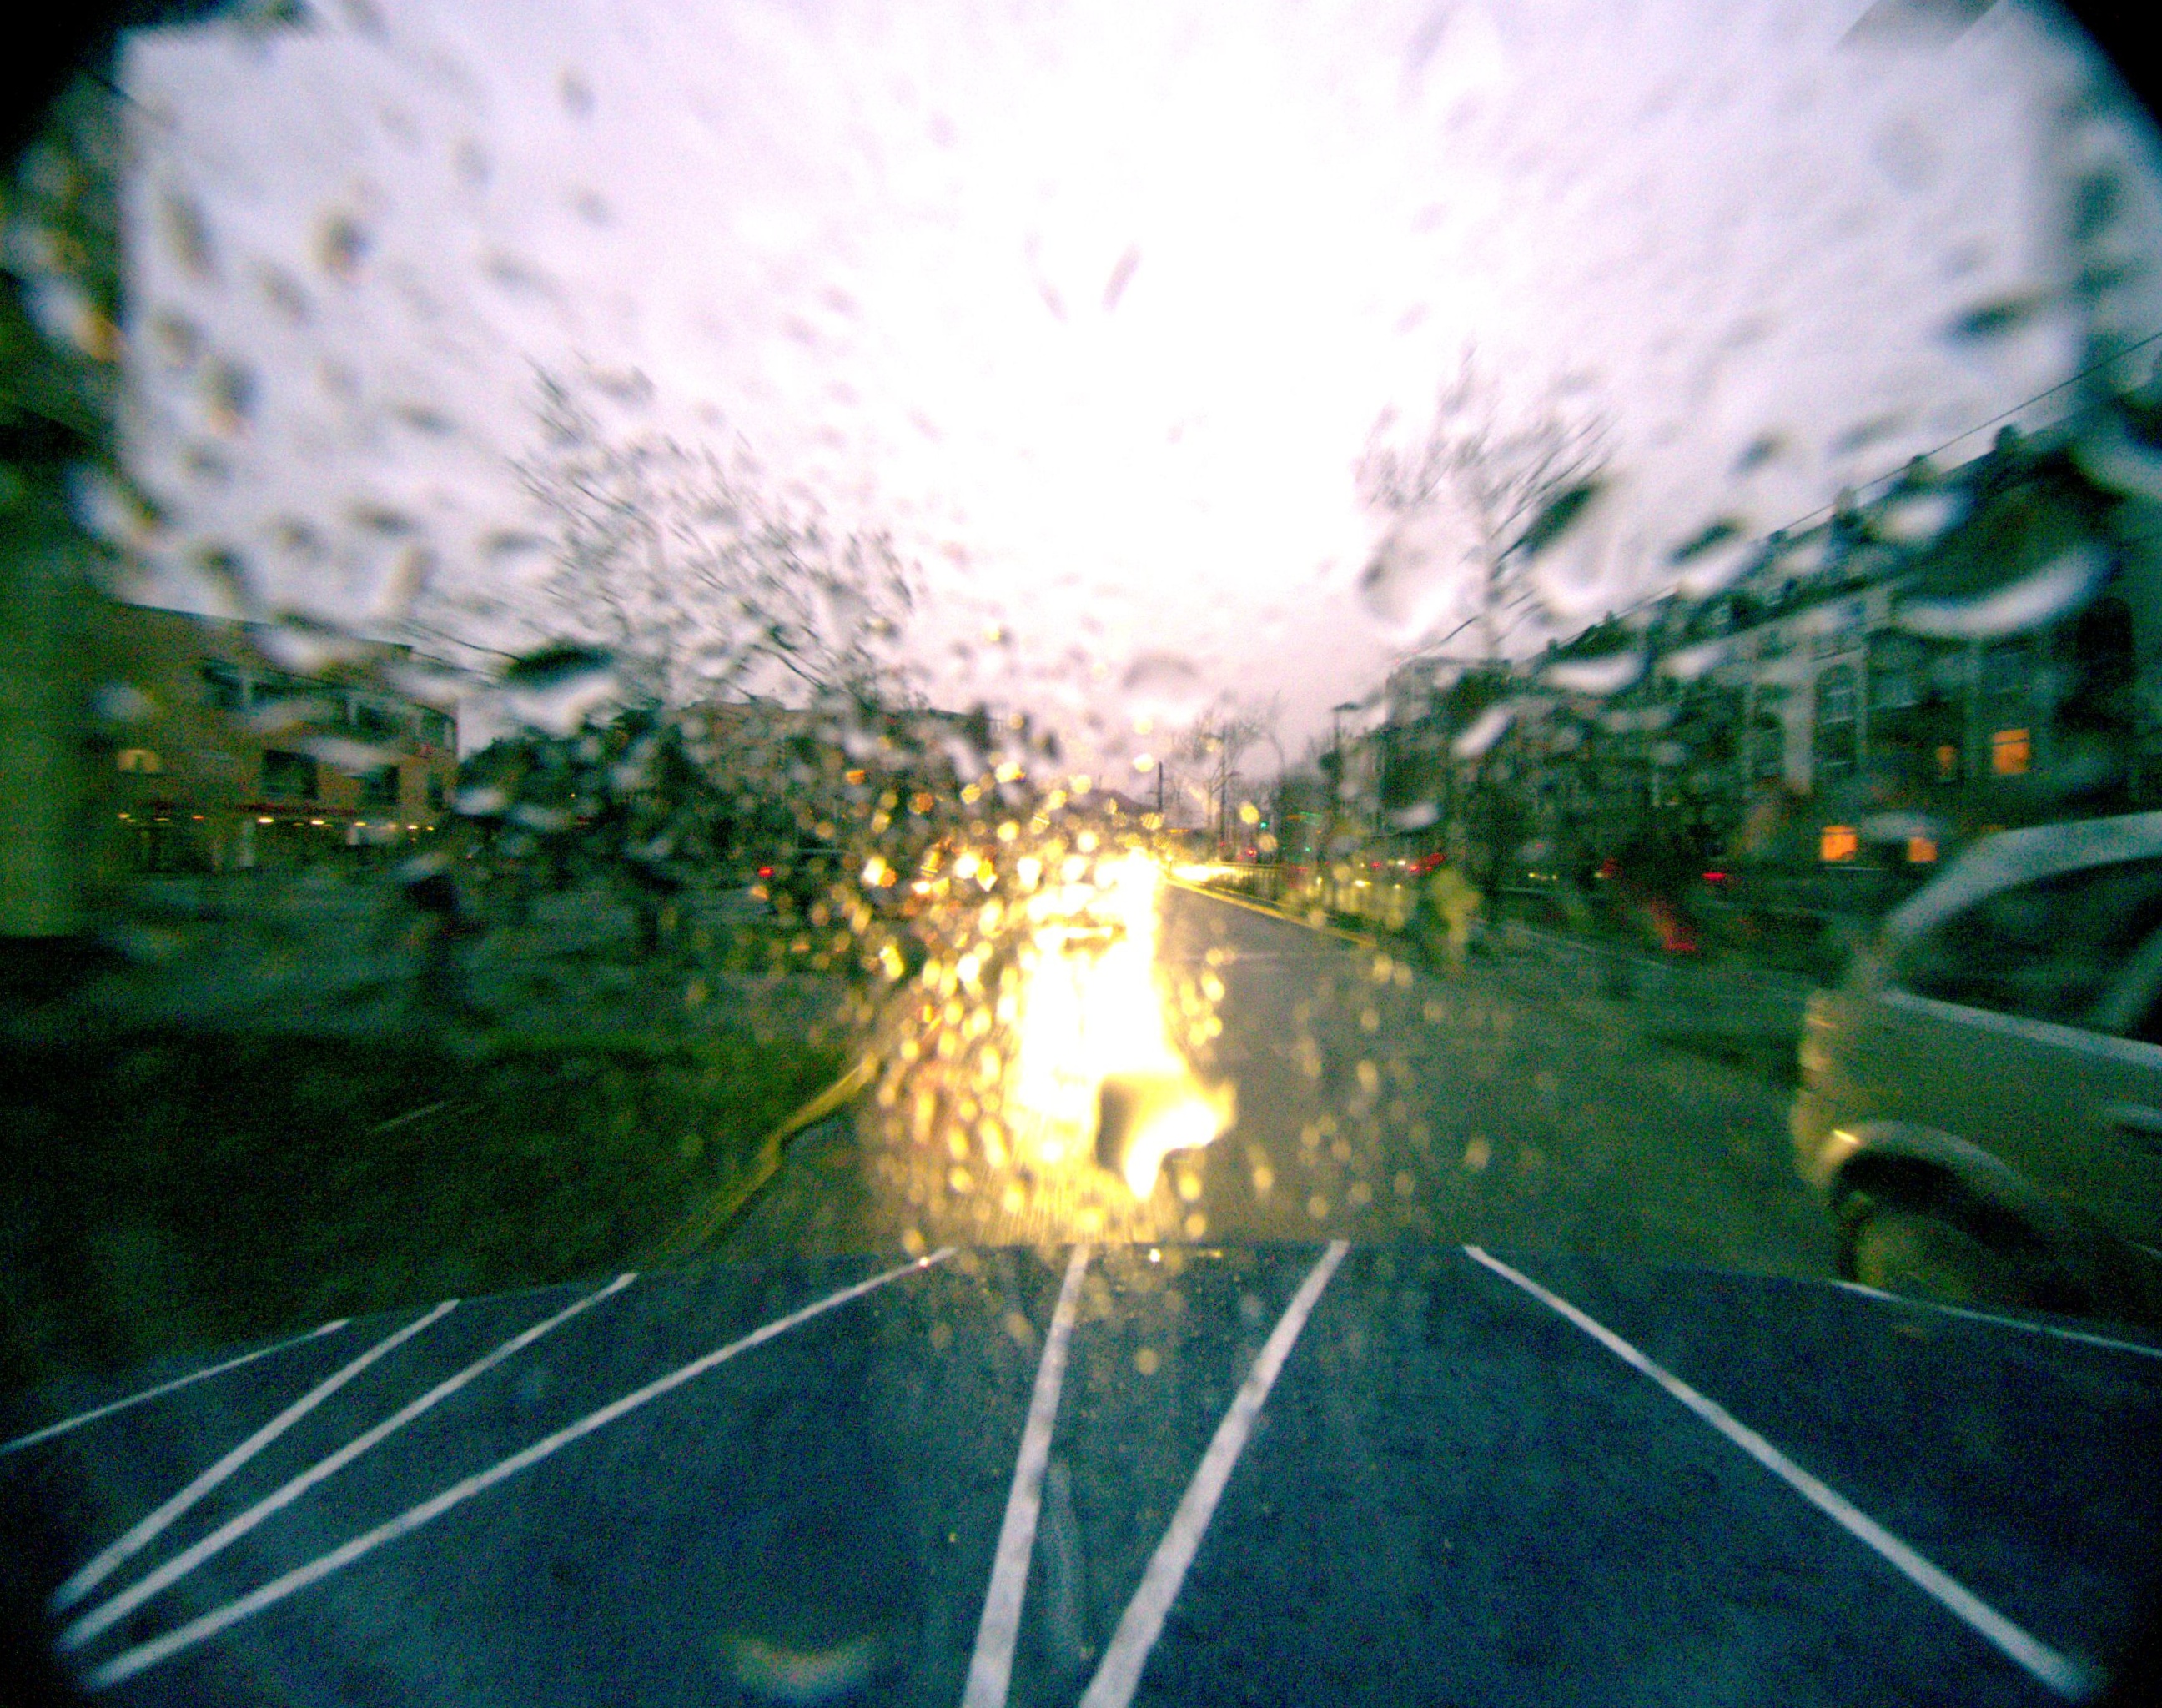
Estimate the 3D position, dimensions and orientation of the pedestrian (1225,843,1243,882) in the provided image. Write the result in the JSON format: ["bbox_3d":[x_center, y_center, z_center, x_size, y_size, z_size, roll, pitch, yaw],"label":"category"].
[{"bbox_3d":[8.053,0.456,40.026,0.876,2.002,0.931,1,1,12],"label":"pedestrian"}]

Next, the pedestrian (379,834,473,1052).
[{"bbox_3d":[-5.525,0.707,6.436,0.506,1.732,0.656,0,1,-32],"label":"pedestrian"}]

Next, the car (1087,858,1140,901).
[{"bbox_3d":[1.164,0.900,28.384,1.813,1.384,4.053,-1,0,1],"label":"car"}]

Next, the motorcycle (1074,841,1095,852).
[{"bbox_3d":[0.661,-1.515,149.415,3.997,2.002,0.926,-2,1,1],"label":"motorcycle"}]

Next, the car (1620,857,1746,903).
[{"bbox_3d":[24.100,0.989,30.613,1.869,1.628,4.000,-3,0,1],"label":"car"}]

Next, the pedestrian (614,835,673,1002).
[{"bbox_3d":[-4.952,0.700,8.626,0.506,1.814,0.656,0,1,-25],"label":"pedestrian"}]

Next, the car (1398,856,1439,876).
[{"bbox_3d":[25.680,0.921,57.831,1.682,1.399,3.259,1,0,1],"label":"car"}]

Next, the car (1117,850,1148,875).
[{"bbox_3d":[3.287,0.522,49.271,1.813,1.487,4.053,-1,0,1],"label":"car"}]

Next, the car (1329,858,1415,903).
[{"bbox_3d":[10.550,0.899,27.855,1.667,1.477,4.000,1,0,1],"label":"car"}]

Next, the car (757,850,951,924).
[{"bbox_3d":[-5.231,0.725,17.852,3.996,1.546,1.742,1,1,2],"label":"car"}]

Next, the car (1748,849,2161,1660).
[{"bbox_3d":[3.067,0.797,0.405,1.814,1.591,4.052,-1,0,-1],"label":"car"}]
